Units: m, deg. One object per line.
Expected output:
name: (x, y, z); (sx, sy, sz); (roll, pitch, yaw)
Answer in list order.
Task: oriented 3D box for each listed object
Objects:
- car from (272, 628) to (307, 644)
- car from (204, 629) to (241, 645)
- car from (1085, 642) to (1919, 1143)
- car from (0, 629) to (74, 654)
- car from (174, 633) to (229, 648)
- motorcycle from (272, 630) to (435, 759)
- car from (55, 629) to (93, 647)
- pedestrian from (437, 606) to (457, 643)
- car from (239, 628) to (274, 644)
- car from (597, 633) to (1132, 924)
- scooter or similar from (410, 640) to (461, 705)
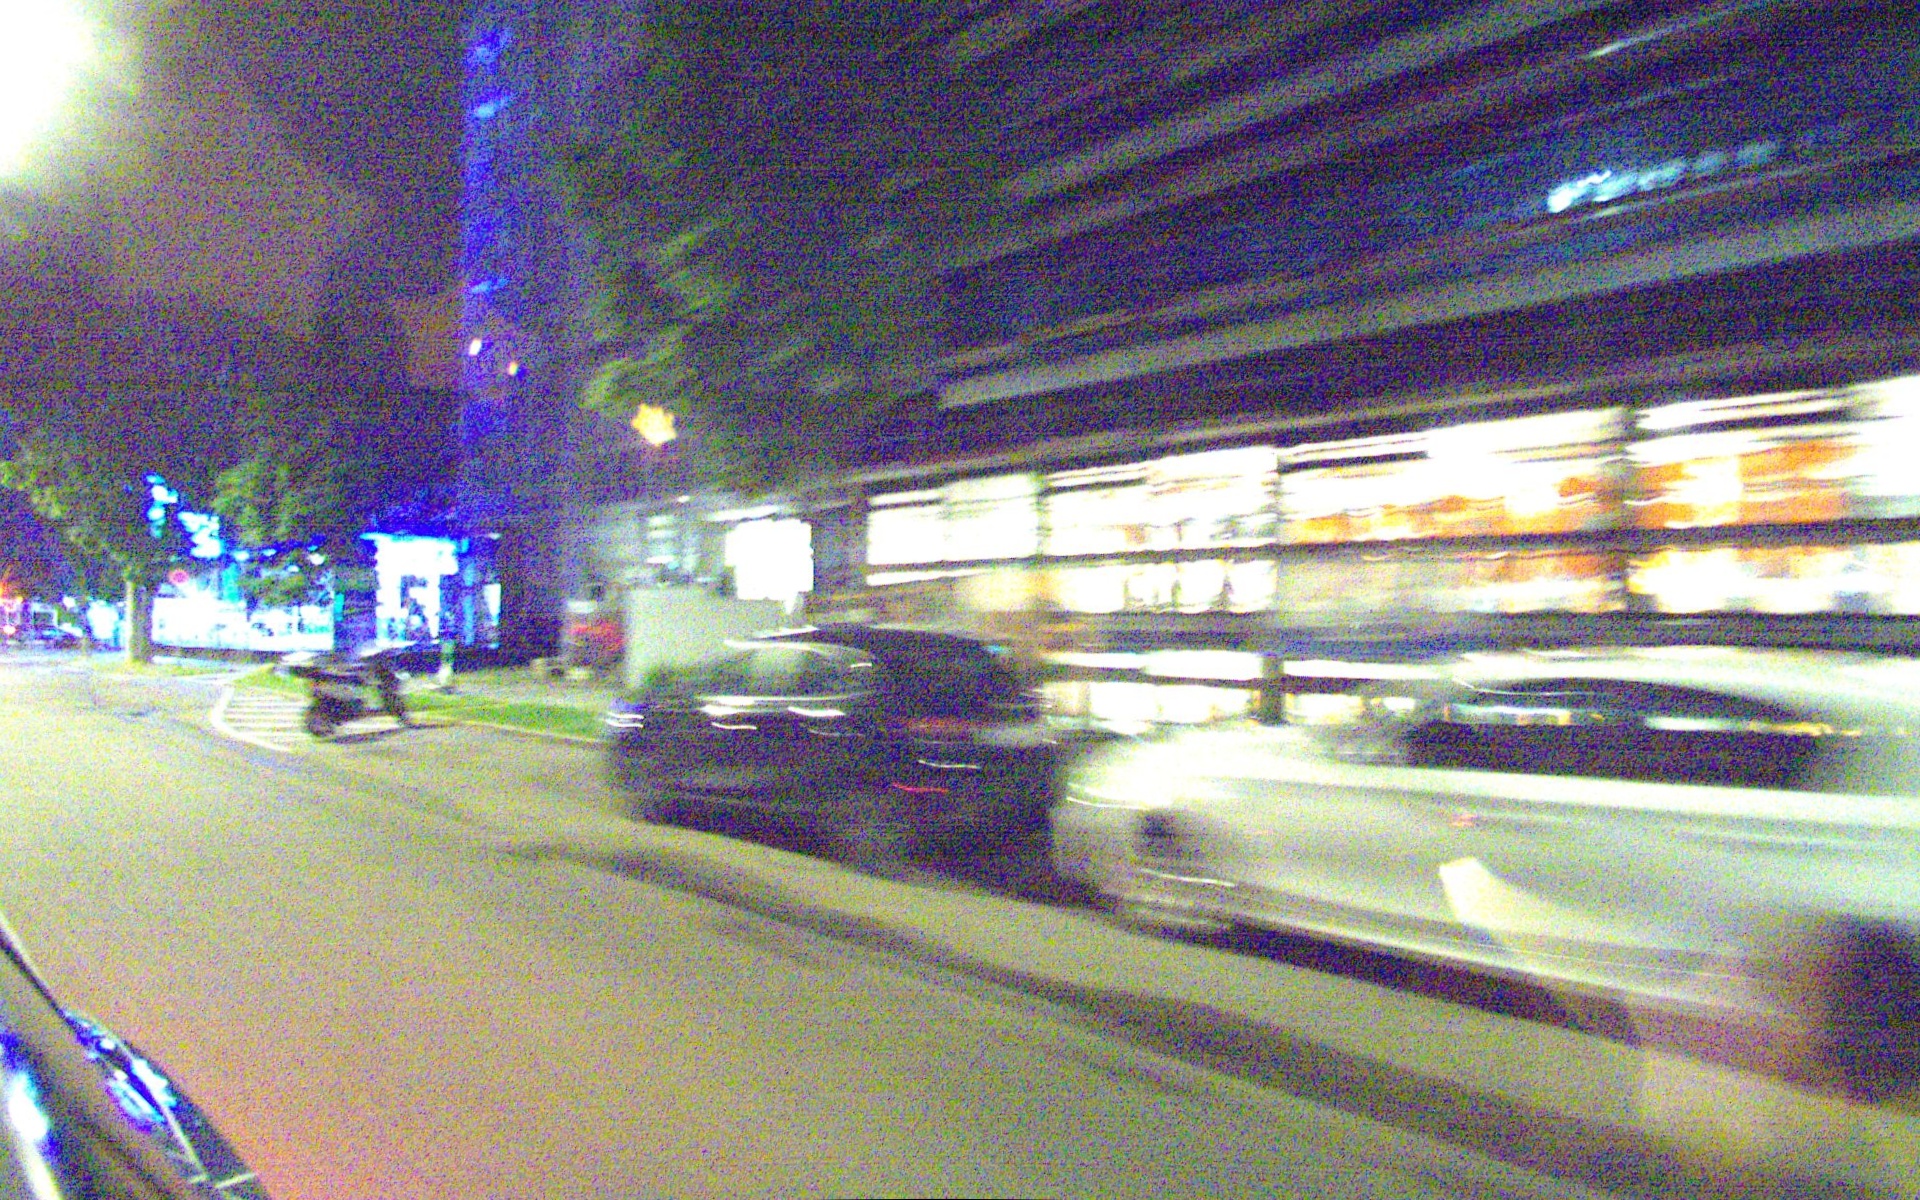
car: (-64.916, 3.479, 97.956); (4.084, 1.489, 1.840); (-2, -2, 41)
car: (-68.356, 3.409, 93.762); (4.351, 1.489, 1.840); (-2, -2, 41)
car: (2.578, 0.947, 4.325); (3.901, 1.440, 1.430); (-2, 0, 41)
car: (-71.347, 3.177, 78.225); (1.852, 1.873, 4.030); (-1, -3, 41)
car: (-74.895, 3.984, 100.047); (1.716, 1.489, 4.256); (-1, -2, 13)
motorcycle: (-8.144, 1.209, 13.682); (0.635, 1.561, 1.894); (-1, 0, 21)
car: (-75.107, 3.183, 85.818); (4.067, 1.472, 1.840); (-1, -2, 40)
pedestrian: (-22.849, 1.076, 45.065); (0.642, 1.618, 0.569); (-1, -2, 40)
car: (-66.681, 3.431, 95.873); (4.084, 1.489, 1.710); (-2, -2, 41)
car: (-0.869, 1.028, 7.388); (3.901, 1.516, 1.626); (-2, 0, 40)
scooter or similar: (-10.345, 1.411, 19.943); (1.427, 1.213, 0.363); (-1, -3, 41)
